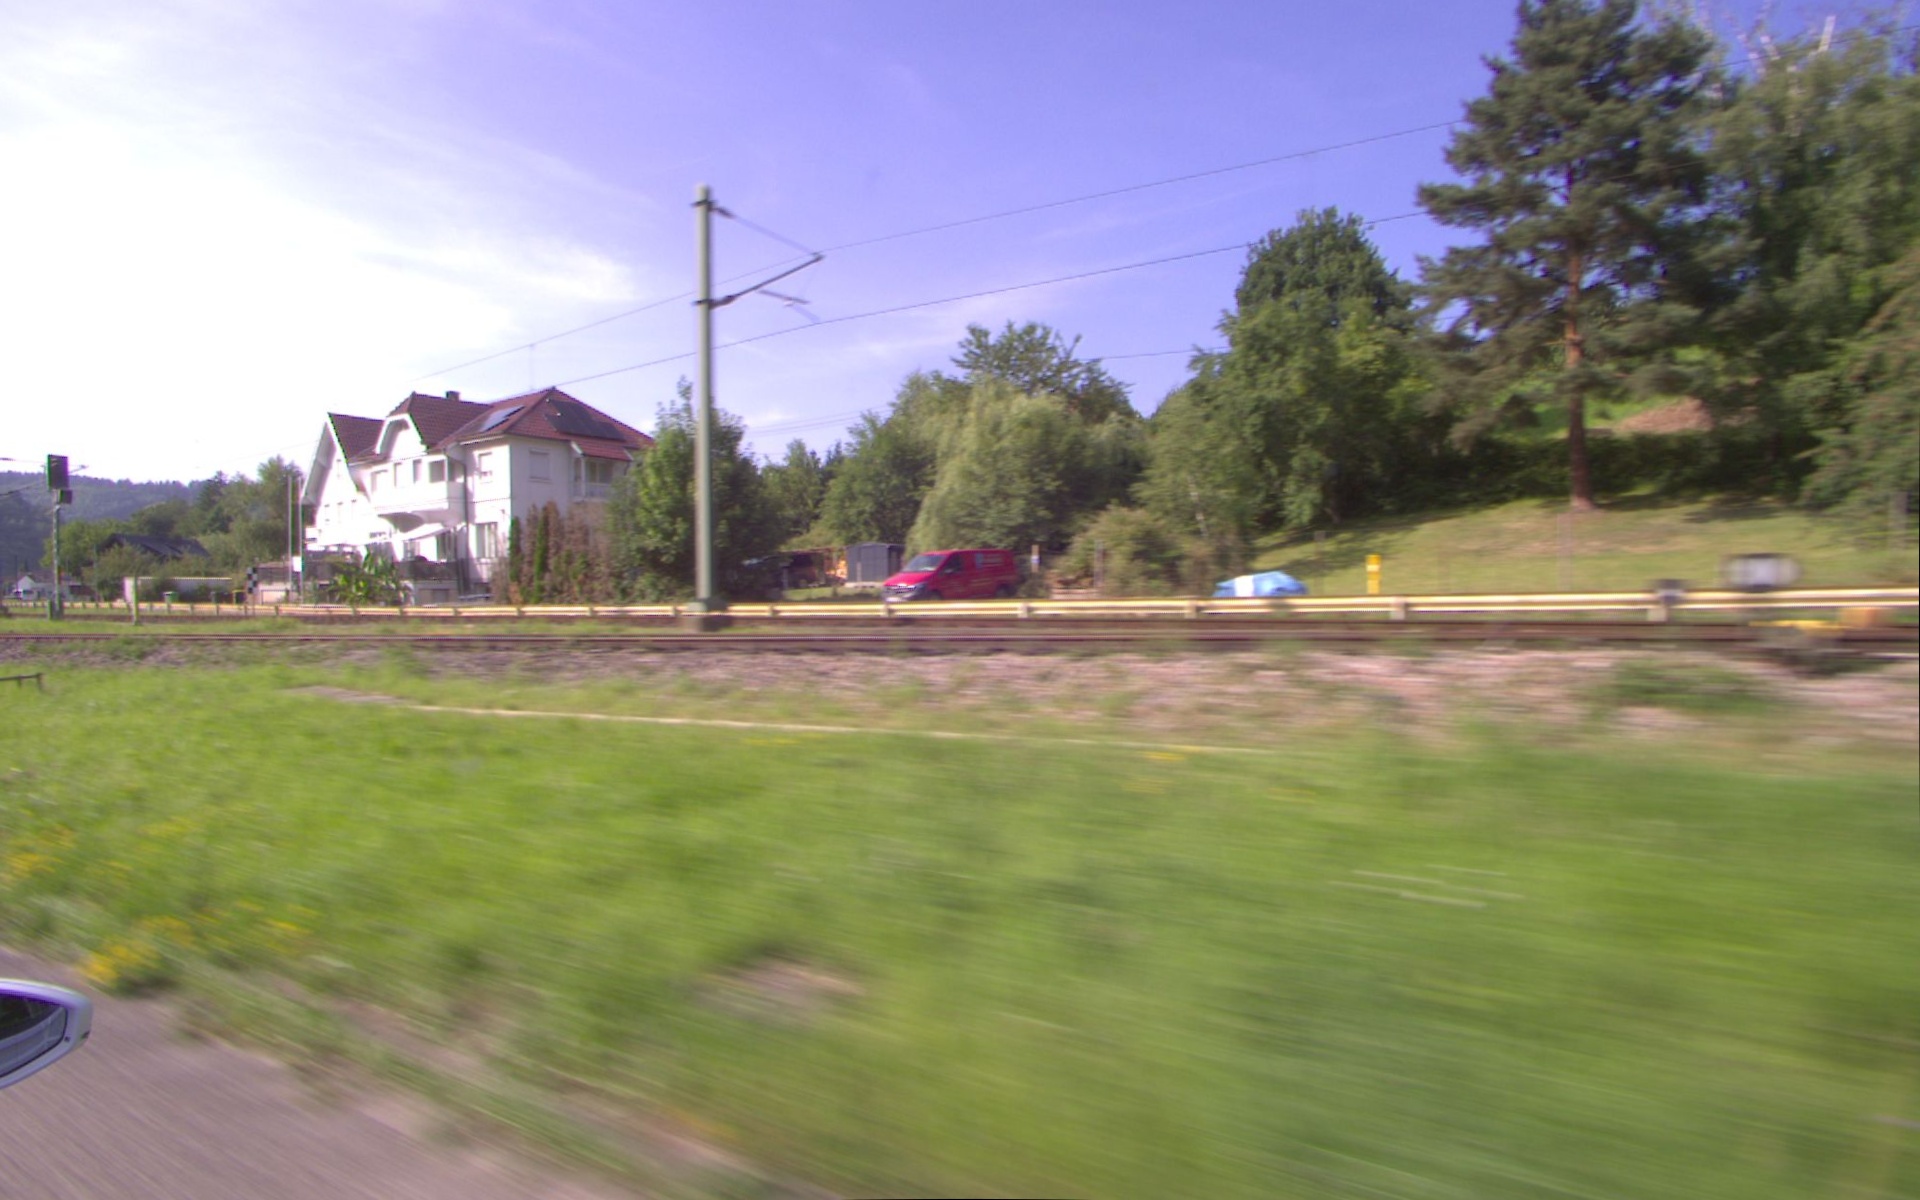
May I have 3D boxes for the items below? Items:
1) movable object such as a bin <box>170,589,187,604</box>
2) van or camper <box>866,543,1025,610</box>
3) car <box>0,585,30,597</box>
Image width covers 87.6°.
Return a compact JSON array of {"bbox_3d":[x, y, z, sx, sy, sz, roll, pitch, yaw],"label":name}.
[{"bbox_3d":[-56.981,-0.260,73.025,0.901,1.064,0.803,1,0,42],"label":"movable object such as a bin"},{"bbox_3d":[-0.341,-0.774,31.973,2.094,1.955,5.392,0,2,39],"label":"van or camper"},{"bbox_3d":[-172.977,-1.650,182.265,1.978,2.041,5.247,1,3,42],"label":"car"}]
